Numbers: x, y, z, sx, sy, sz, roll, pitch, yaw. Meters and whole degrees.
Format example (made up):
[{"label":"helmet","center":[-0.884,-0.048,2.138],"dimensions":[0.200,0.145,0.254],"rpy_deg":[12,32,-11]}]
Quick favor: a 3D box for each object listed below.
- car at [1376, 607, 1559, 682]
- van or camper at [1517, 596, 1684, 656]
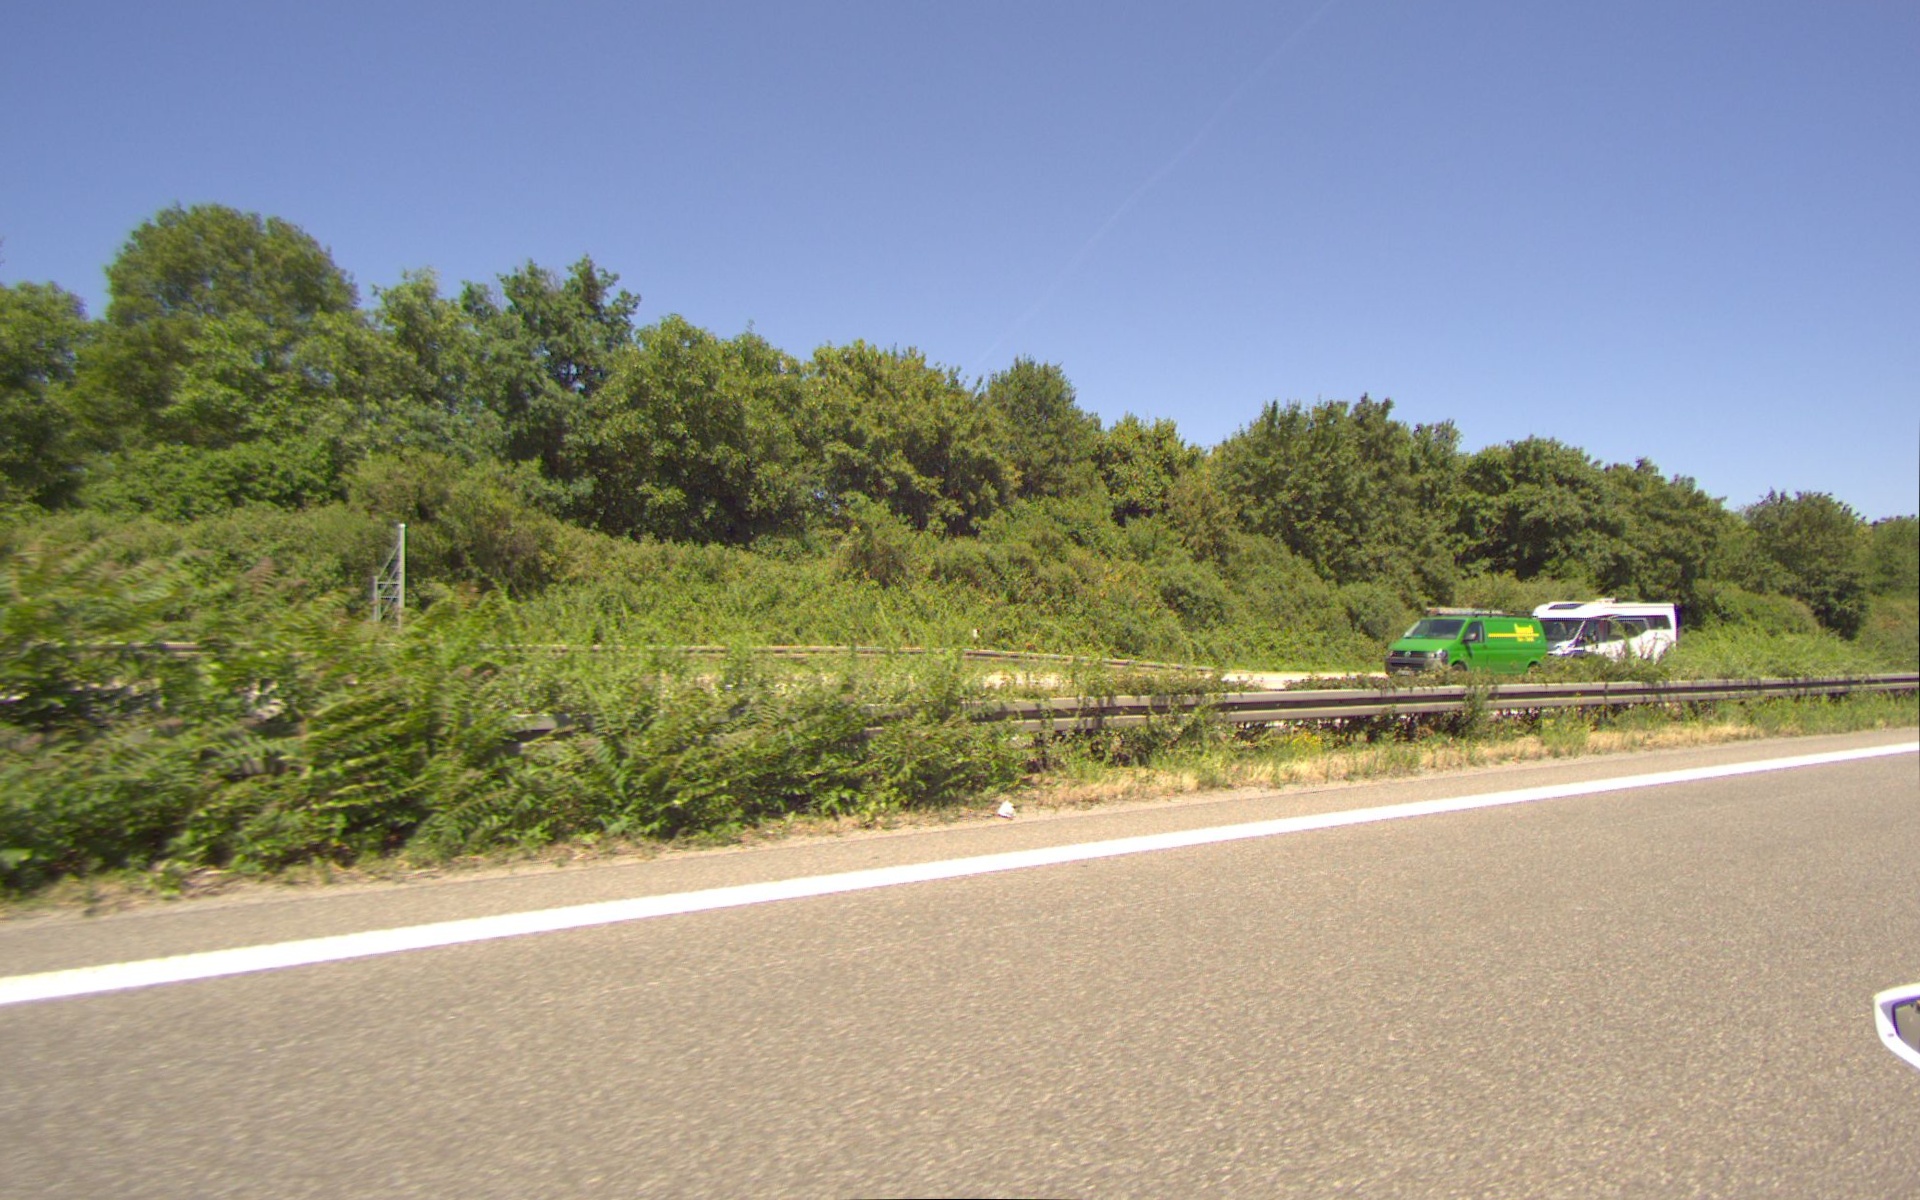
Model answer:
[{"label":"car","center":[14.047,1.194,27.696],"dimensions":[5.397,1.903,1.984],"rpy_deg":[1,-1,-31]},{"label":"van or camper","center":[23.607,0.968,36.991],"dimensions":[6.284,2.040,2.488],"rpy_deg":[1,-1,-29]}]
